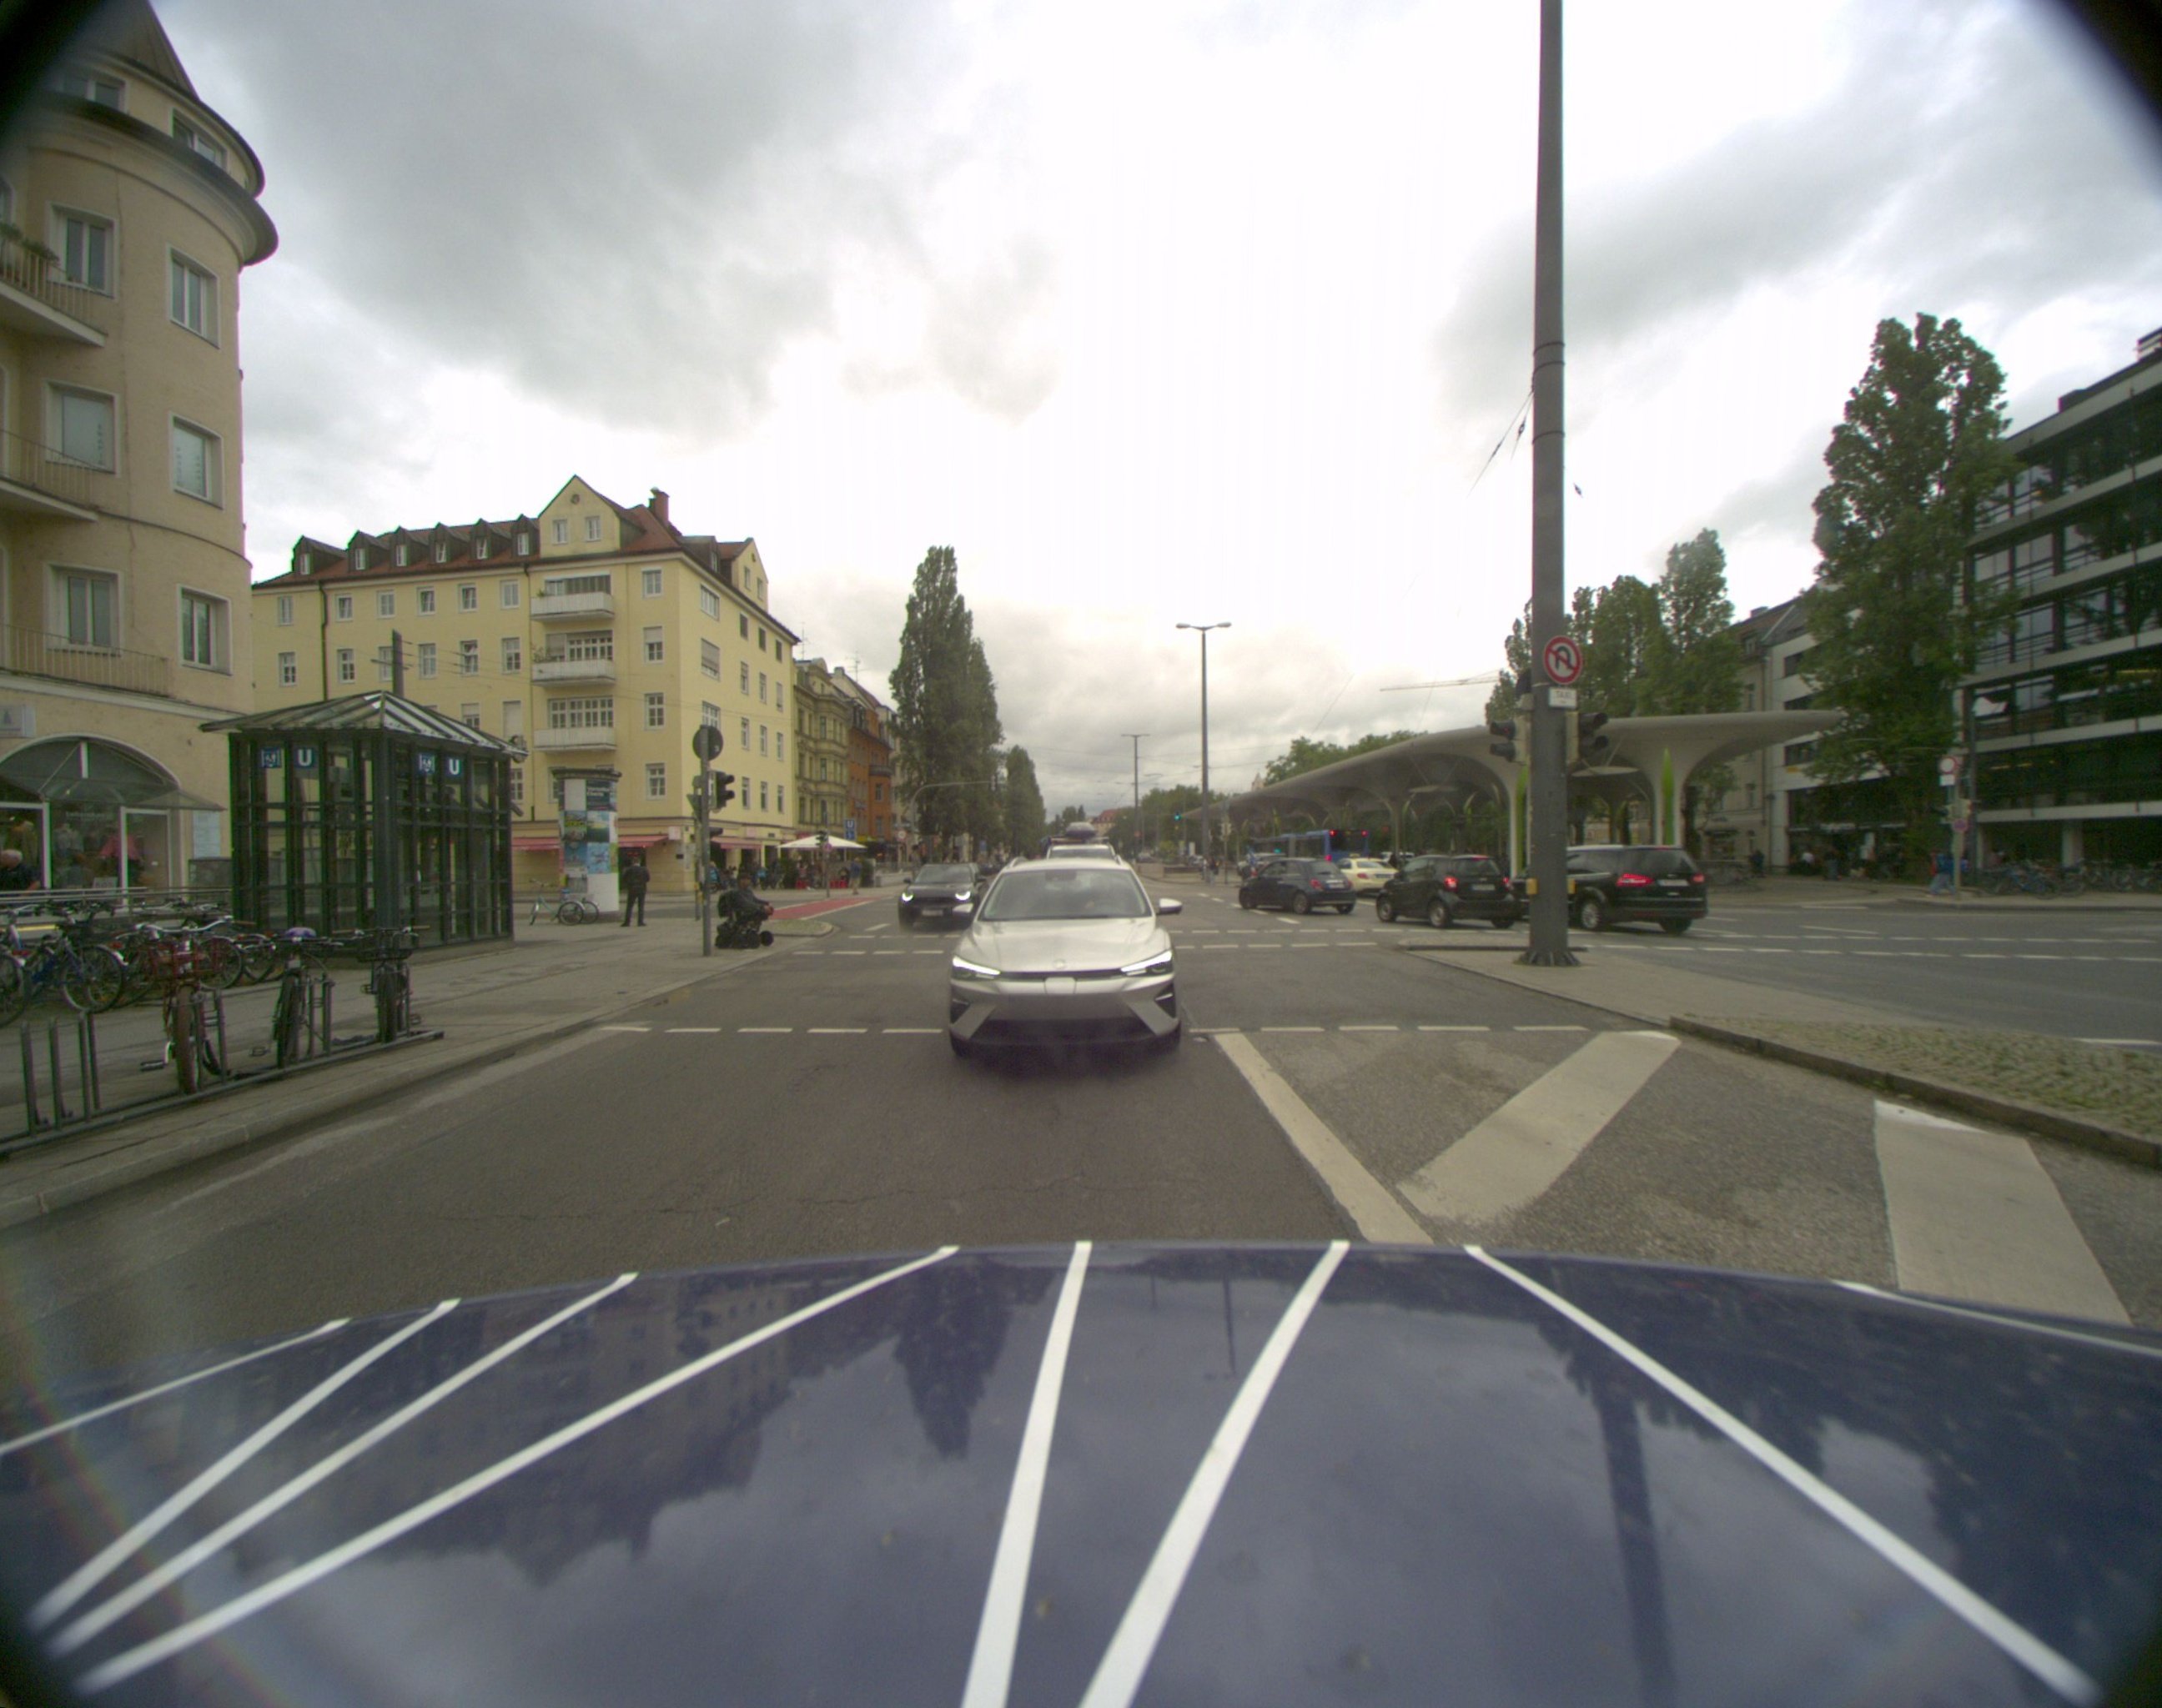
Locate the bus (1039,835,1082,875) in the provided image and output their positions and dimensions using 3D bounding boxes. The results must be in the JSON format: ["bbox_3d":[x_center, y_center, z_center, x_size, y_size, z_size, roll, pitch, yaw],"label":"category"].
[{"bbox_3d":[-1.856,0.013,62.450,2.942,2.927,11.208,-2,1,-4],"label":"bus"}]

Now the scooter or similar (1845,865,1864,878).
[{"bbox_3d":[45.634,1.023,44.825,0.519,0.711,0.681,0,0,11],"label":"scooter or similar"}]

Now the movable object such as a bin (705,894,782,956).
[{"bbox_3d":[-6.153,1.286,13.892,1.089,1.056,0.747,1,1,-3],"label":"movable object such as a bin"}]

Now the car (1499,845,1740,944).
[{"bbox_3d":[10.949,0.714,15.937,1.998,1.761,4.306,1,1,1],"label":"car"}]

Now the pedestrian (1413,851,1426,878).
[{"bbox_3d":[18.586,0.566,41.724,0.489,1.493,0.426,-1,1,-11],"label":"pedestrian"}]

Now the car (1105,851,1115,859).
[{"bbox_3d":[6.045,0.133,159.129,1.848,1.529,3.999,-2,1,0],"label":"car"}]

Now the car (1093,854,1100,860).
[{"bbox_3d":[4.277,0.725,207.354,1.848,1.529,3.999,-2,1,0],"label":"car"}]

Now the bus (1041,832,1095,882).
[{"bbox_3d":[-1.052,0.109,51.242,2.942,2.927,11.208,-2,1,-4],"label":"bus"}]

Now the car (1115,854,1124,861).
[{"bbox_3d":[8.487,0.796,168.888,1.848,1.529,4.000,-1,0,0],"label":"car"}]

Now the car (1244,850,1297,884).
[{"bbox_3d":[10.160,0.660,41.037,1.847,1.674,3.999,-2,1,1],"label":"car"}]

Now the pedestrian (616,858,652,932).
[{"bbox_3d":[-11.059,1.000,18.812,0.641,1.767,0.609,-1,1,-23],"label":"pedestrian"}]

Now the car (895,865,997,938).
[{"bbox_3d":[-3.146,1.058,18.462,1.740,1.461,4.050,-1,0,-1],"label":"car"}]

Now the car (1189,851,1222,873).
[{"bbox_3d":[9.523,0.591,58.463,1.848,1.529,3.999,-2,1,0],"label":"car"}]

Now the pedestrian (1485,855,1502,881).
[{"bbox_3d":[21.325,0.723,39.258,0.549,1.330,0.592,-1,0,-1],"label":"pedestrian"}]

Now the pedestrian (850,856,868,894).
[{"bbox_3d":[-10.765,0.997,36.827,0.732,1.792,0.710,-1,2,-9],"label":"pedestrian"}]

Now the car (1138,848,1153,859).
[{"bbox_3d":[10.086,-0.116,119.086,1.848,1.529,3.999,-2,1,0],"label":"car"}]

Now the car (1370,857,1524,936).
[{"bbox_3d":[7.718,0.833,16.277,1.562,1.498,2.785,-1,0,-13],"label":"car"}]

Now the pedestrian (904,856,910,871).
[{"bbox_3d":[-18.820,1.027,82.190,0.552,1.675,0.585,-1,1,1],"label":"pedestrian"}]

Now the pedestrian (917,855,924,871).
[{"bbox_3d":[-17.411,0.970,82.430,0.552,1.675,0.585,-1,1,1],"label":"pedestrian"}]

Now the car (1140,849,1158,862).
[{"bbox_3d":[8.572,0.198,96.489,1.848,1.529,3.999,-2,1,0],"label":"car"}]

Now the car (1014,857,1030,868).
[{"bbox_3d":[-8.769,1.202,112.508,1.998,1.630,4.000,-1,0,0],"label":"car"}]

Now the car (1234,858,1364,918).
[{"bbox_3d":[5.875,0.864,20.825,1.630,1.471,3.381,0,0,-25],"label":"car"}]

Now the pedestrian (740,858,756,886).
[{"bbox_3d":[-19.813,1.063,45.263,0.686,1.657,0.621,-1,1,-44],"label":"pedestrian"}]

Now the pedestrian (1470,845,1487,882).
[{"bbox_3d":[20.050,0.458,38.336,0.666,1.840,0.789,0,0,20],"label":"pedestrian"}]

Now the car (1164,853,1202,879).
[{"bbox_3d":[6.590,0.746,49.429,1.922,1.461,3.999,-2,1,1],"label":"car"}]

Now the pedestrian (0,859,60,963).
[{"bbox_3d":[-18.357,0.958,13.078,0.618,1.729,0.644,-1,2,-1],"label":"pedestrian"}]

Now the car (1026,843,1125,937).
[{"bbox_3d":[-0.098,0.725,18.004,1.998,1.889,4.235,-2,1,0],"label":"car"}]

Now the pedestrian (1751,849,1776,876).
[{"bbox_3d":[42.515,0.510,47.330,0.834,1.689,0.905,0,0,14],"label":"pedestrian"}]

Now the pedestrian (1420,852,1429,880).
[{"bbox_3d":[18.499,0.639,40.973,0.320,1.493,0.317,-1,1,-9],"label":"pedestrian"}]

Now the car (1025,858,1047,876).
[{"bbox_3d":[-4.804,1.397,81.279,1.998,1.740,3.999,-2,1,0],"label":"car"}]

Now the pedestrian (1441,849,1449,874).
[{"bbox_3d":[19.622,0.407,40.976,0.303,1.369,0.257,0,1,-3],"label":"pedestrian"}]

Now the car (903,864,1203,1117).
[{"bbox_3d":[-0.154,0.920,6.950,1.896,1.483,3.999,-2,1,1],"label":"car"}]

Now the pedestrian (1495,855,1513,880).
[{"bbox_3d":[21.948,0.695,39.428,0.549,1.330,0.592,-1,0,-1],"label":"pedestrian"}]

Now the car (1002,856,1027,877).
[{"bbox_3d":[-5.819,1.064,66.972,1.854,1.615,3.999,-2,1,0],"label":"car"}]

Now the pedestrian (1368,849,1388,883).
[{"bbox_3d":[15.151,0.613,38.732,0.711,1.738,0.788,0,0,-1],"label":"pedestrian"}]

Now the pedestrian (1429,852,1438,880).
[{"bbox_3d":[18.937,0.623,40.846,0.335,1.493,0.317,-1,1,-9],"label":"pedestrian"}]

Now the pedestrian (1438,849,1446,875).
[{"bbox_3d":[19.319,0.422,40.709,0.303,1.369,0.257,0,1,-3],"label":"pedestrian"}]

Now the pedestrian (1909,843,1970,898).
[{"bbox_3d":[27.958,0.525,24.762,0.861,1.767,0.980,-1,0,1],"label":"pedestrian"}]

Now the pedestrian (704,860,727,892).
[{"bbox_3d":[-18.922,1.125,39.320,0.715,1.558,0.832,-2,1,0],"label":"pedestrian"}]

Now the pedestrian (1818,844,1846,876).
[{"bbox_3d":[41.924,0.350,42.431,0.951,1.762,0.985,0,1,33],"label":"pedestrian"}]

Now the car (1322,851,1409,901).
[{"bbox_3d":[10.621,0.762,28.647,1.760,1.674,3.999,-2,1,1],"label":"car"}]
